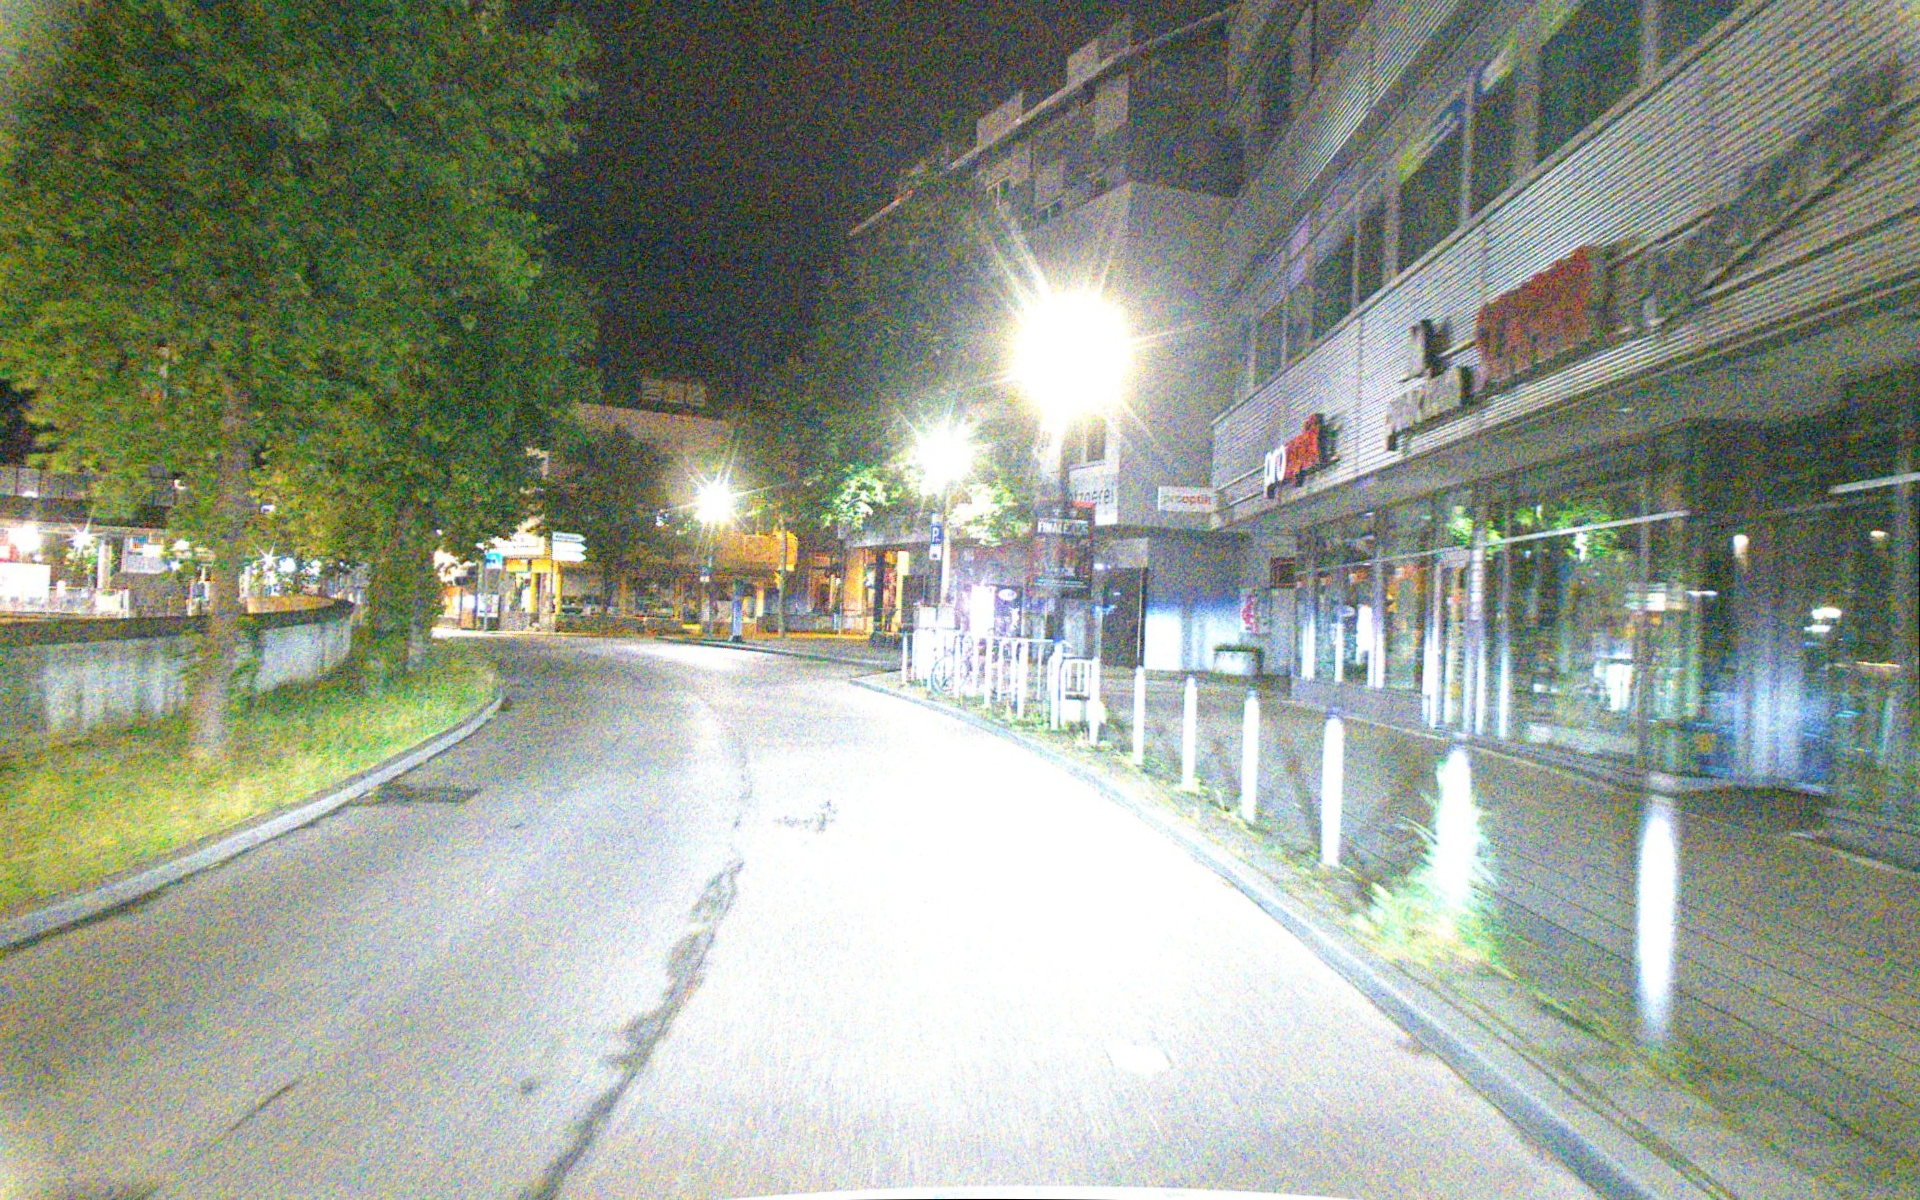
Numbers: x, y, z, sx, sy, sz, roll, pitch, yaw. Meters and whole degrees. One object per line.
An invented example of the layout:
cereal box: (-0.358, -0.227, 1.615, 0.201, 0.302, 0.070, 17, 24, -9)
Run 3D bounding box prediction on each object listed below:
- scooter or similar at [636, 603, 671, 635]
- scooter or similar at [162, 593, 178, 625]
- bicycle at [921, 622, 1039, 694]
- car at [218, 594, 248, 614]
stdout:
scooter or similar: (-12.729, 0.789, 68.723, 1.231, 1.248, 0.593, 3, 0, -27)
scooter or similar: (-33.138, 0.365, 69.369, 0.426, 1.307, 1.134, 1, 1, -33)
bicycle: (0.322, 0.916, 26.186, 1.726, 1.081, 0.651, 2, 0, -24)
car: (-60.680, 0.297, 137.995, 1.694, 1.574, 3.497, 1, 1, -34)
